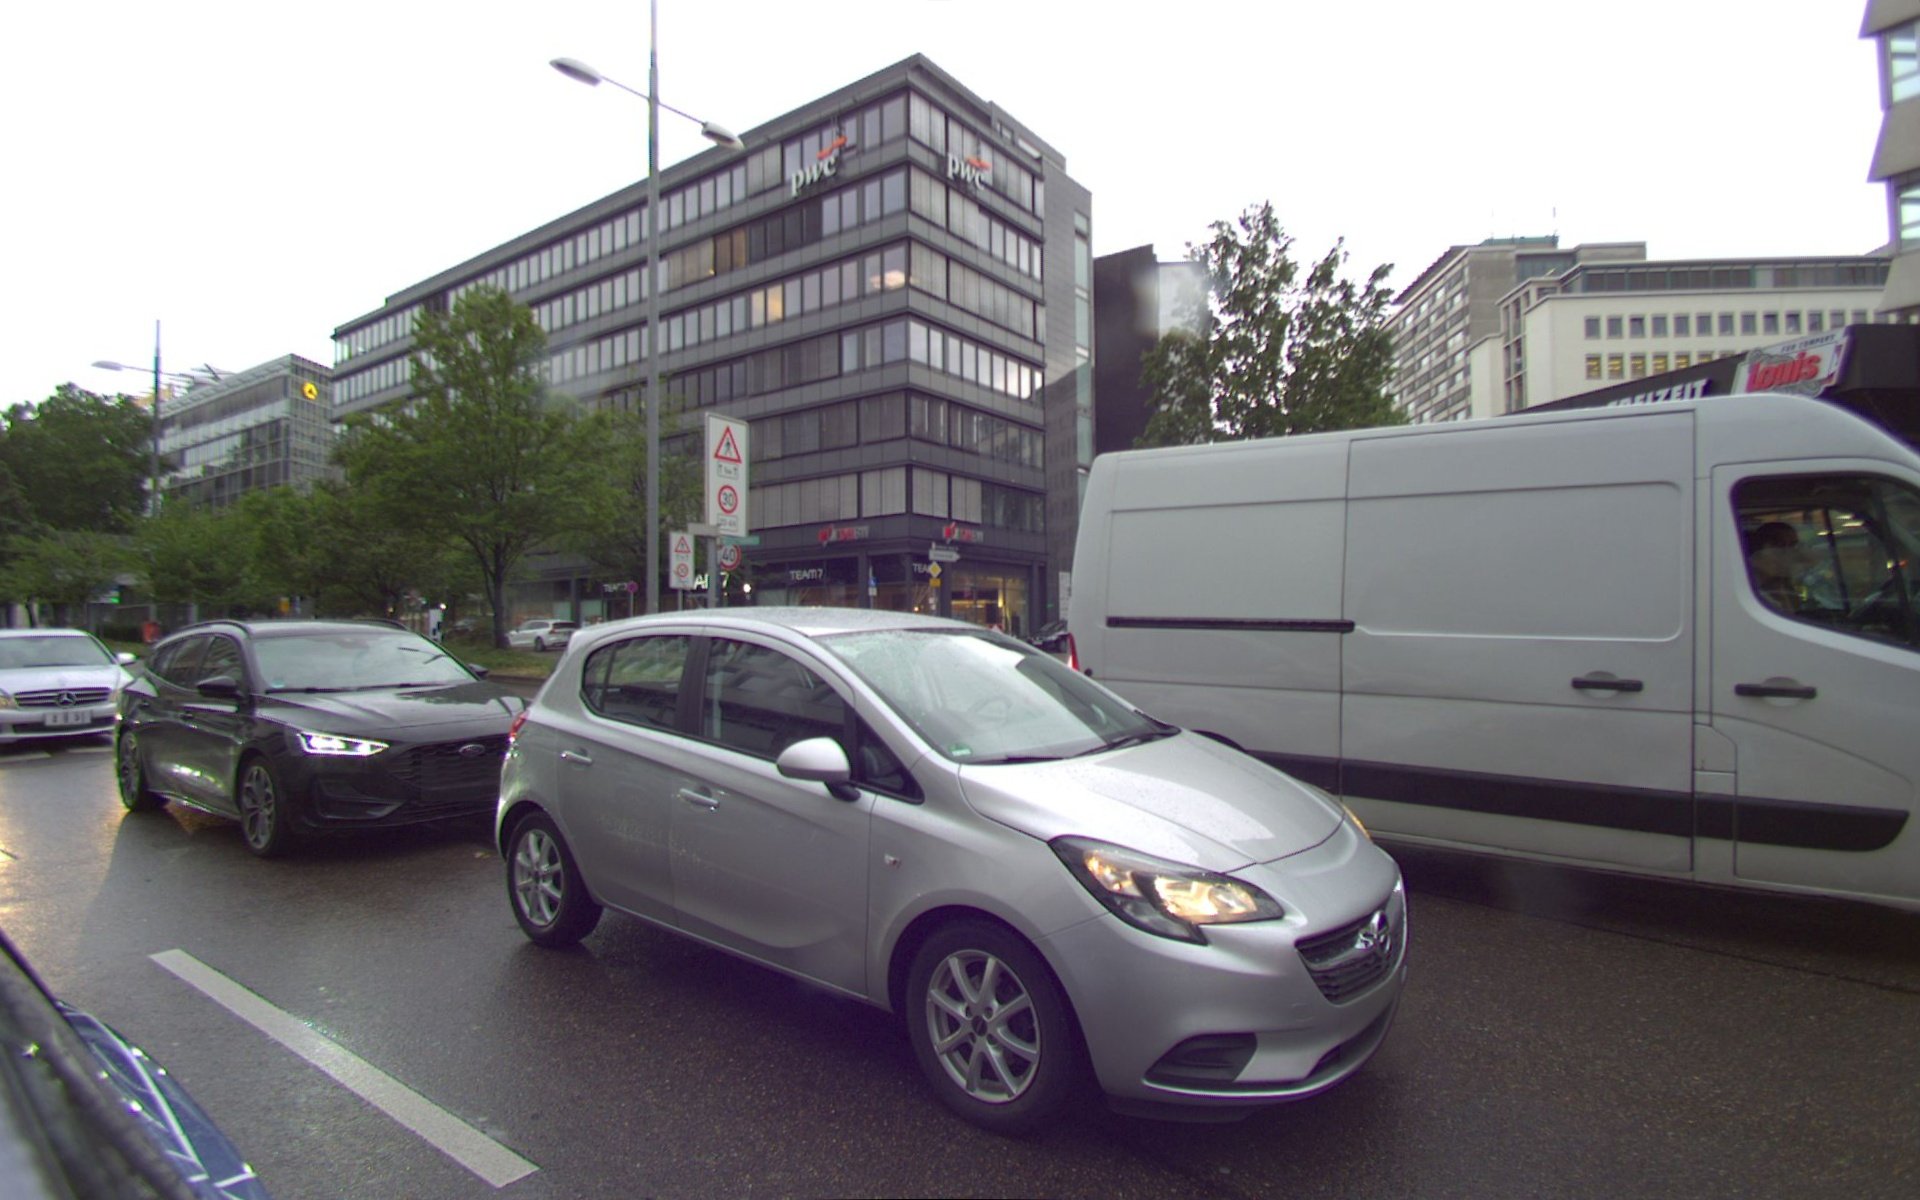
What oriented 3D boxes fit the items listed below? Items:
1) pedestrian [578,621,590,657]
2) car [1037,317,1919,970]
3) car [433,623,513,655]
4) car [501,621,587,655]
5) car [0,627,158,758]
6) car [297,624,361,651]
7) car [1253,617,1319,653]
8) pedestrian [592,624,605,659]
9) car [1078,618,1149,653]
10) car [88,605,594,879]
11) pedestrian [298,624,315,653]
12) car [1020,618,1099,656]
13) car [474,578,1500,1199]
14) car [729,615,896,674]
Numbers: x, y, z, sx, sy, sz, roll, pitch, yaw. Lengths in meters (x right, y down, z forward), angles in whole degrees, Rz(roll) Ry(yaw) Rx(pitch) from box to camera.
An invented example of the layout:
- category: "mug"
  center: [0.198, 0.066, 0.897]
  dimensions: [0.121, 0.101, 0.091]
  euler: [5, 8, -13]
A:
- category: "pedestrian"
  center: [-21.429, 2.244, 57.666]
  dimensions: [0.296, 2.029, 0.534]
  euler: [-2, -1, 35]
- category: "car"
  center: [3.250, 0.186, 5.278]
  dimensions: [5.469, 2.459, 1.929]
  euler: [-2, -1, 36]
- category: "car"
  center: [-24.639, 1.946, 51.123]
  dimensions: [4.100, 1.518, 1.975]
  euler: [-2, -1, 36]
- category: "car"
  center: [-19.450, 1.767, 47.273]
  dimensions: [3.992, 1.518, 1.975]
  euler: [-2, -1, 36]
- category: "car"
  center: [-11.708, 1.068, 12.713]
  dimensions: [4.091, 1.391, 1.754]
  euler: [-2, -1, 39]
- category: "car"
  center: [-37.986, 2.261, 60.932]
  dimensions: [3.992, 1.518, 1.975]
  euler: [-2, -1, 36]
- category: "car"
  center: [15.525, 1.623, 48.067]
  dimensions: [1.847, 1.596, 3.716]
  euler: [-2, -1, 37]
- category: "pedestrian"
  center: [-21.231, 2.445, 59.485]
  dimensions: [0.460, 2.029, 0.568]
  euler: [-2, -1, 36]
- category: "car"
  center: [7.534, 1.708, 49.494]
  dimensions: [1.847, 1.596, 3.716]
  euler: [-2, -1, 37]
- category: "car"
  center: [-4.630, 0.810, 7.352]
  dimensions: [4.087, 1.446, 1.755]
  euler: [-2, -1, 37]
- category: "pedestrian"
  center: [-46.432, 2.728, 71.910]
  dimensions: [0.539, 2.029, 0.917]
  euler: [-2, -1, 39]
- category: "car"
  center: [4.500, 1.651, 45.498]
  dimensions: [1.847, 1.596, 3.716]
  euler: [-2, -1, 37]
- category: "car"
  center: [-0.212, 0.717, 3.996]
  dimensions: [3.872, 1.446, 1.631]
  euler: [-2, -1, 40]
- category: "car"
  center: [-3.757, 1.102, 25.663]
  dimensions: [3.983, 1.383, 1.734]
  euler: [-1, -1, 30]
